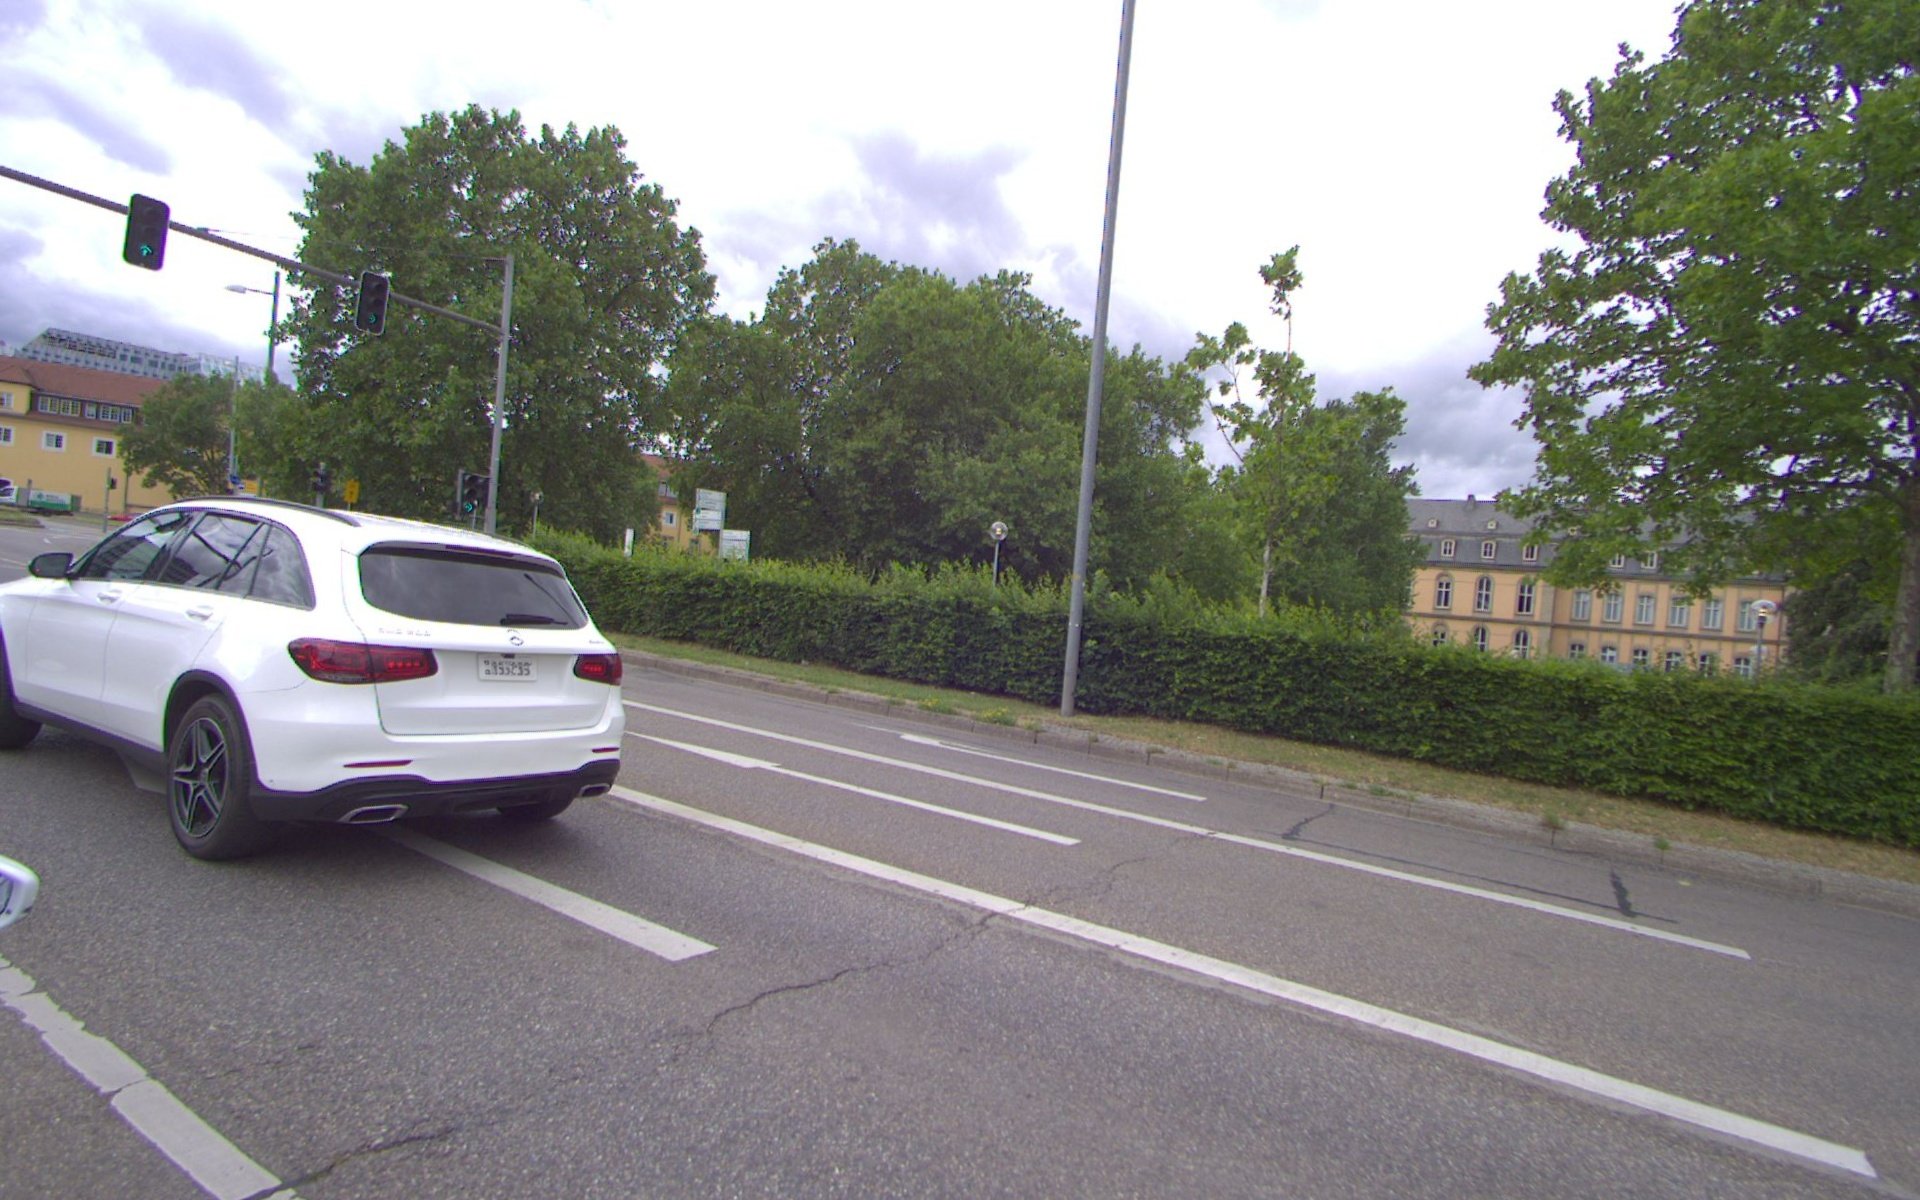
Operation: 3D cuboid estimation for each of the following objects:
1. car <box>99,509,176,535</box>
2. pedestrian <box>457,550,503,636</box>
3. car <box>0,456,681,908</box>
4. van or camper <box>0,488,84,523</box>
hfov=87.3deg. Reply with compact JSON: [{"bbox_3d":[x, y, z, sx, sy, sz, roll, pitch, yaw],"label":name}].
[{"bbox_3d":[-68.709,-6.478,84.094,4.637,1.438,1.586,7,-1,-27],"label":"car"},{"bbox_3d":[-10.505,-0.154,22.016,0.609,1.785,0.479,7,0,29],"label":"pedestrian"},{"bbox_3d":[-3.911,0.228,5.832,4.305,1.667,1.822,7,0,31],"label":"car"},{"bbox_3d":[-74.967,-7.710,81.148,5.945,2.038,2.009,7,-1,-23],"label":"van or camper"}]
